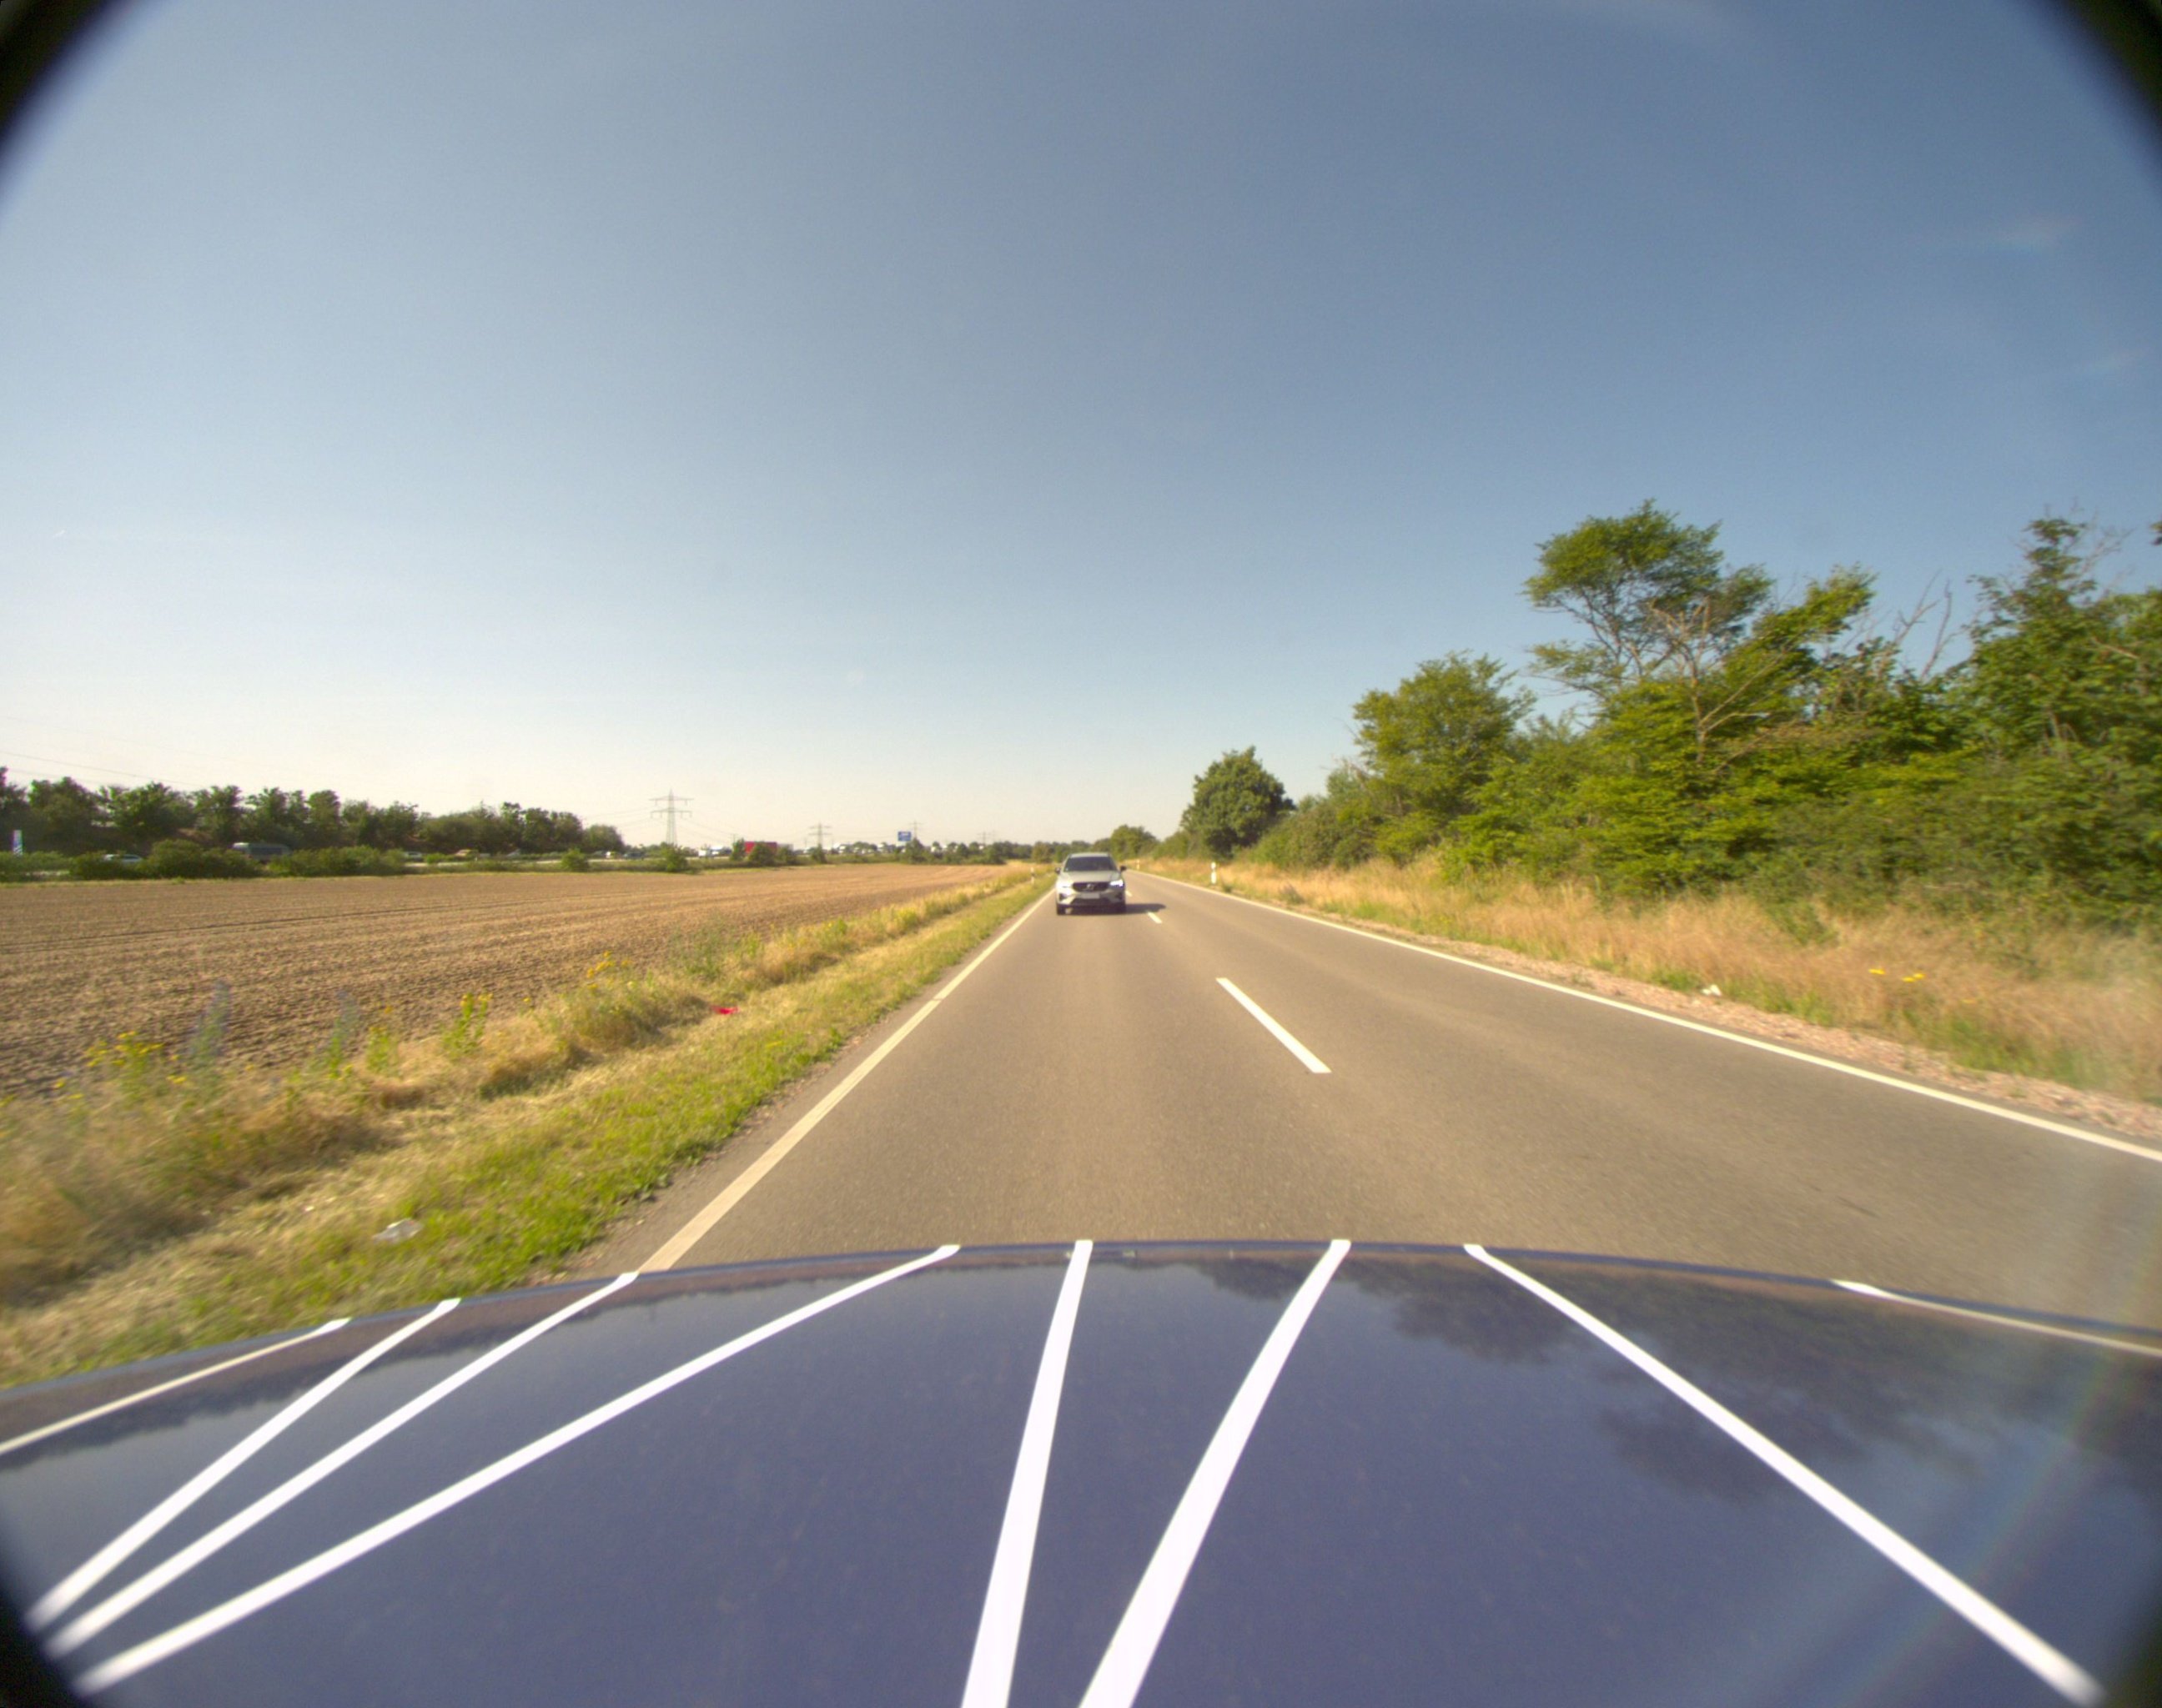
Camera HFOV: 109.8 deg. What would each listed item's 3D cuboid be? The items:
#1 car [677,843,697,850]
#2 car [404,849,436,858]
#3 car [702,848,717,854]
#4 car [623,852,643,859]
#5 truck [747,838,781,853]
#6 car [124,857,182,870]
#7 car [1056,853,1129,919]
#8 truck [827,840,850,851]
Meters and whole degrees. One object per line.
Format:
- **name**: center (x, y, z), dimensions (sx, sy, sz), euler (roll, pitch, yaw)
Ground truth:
- **car**: center (-100.932, -1.827, 194.557), dimensions (2.055, 1.671, 5.608), euler (-1, 1, 1)
- **car**: center (-97.319, -0.131, 111.935), dimensions (1.486, 1.221, 3.595), euler (-1, 1, 0)
- **car**: center (-82.929, -0.656, 169.718), dimensions (1.494, 1.414, 3.596), euler (-1, 1, 3)
- **car**: center (-83.732, 0.301, 142.109), dimensions (1.415, 1.206, 3.595), euler (-1, 1, 2)
- **truck**: center (-82.724, -2.201, 198.598), dimensions (2.910, 3.538, 13.690), euler (-1, 0, 1)
- **car**: center (-95.858, 0.948, 78.497), dimensions (1.485, 1.221, 3.595), euler (-1, 1, 1)
- **car**: center (0.287, 0.819, 21.592), dimensions (1.840, 1.628, 4.135), euler (-1, 0, 0)
- **truck**: center (-81.090, -2.883, 254.152), dimensions (2.910, 3.538, 13.690), euler (-1, 0, 1)
